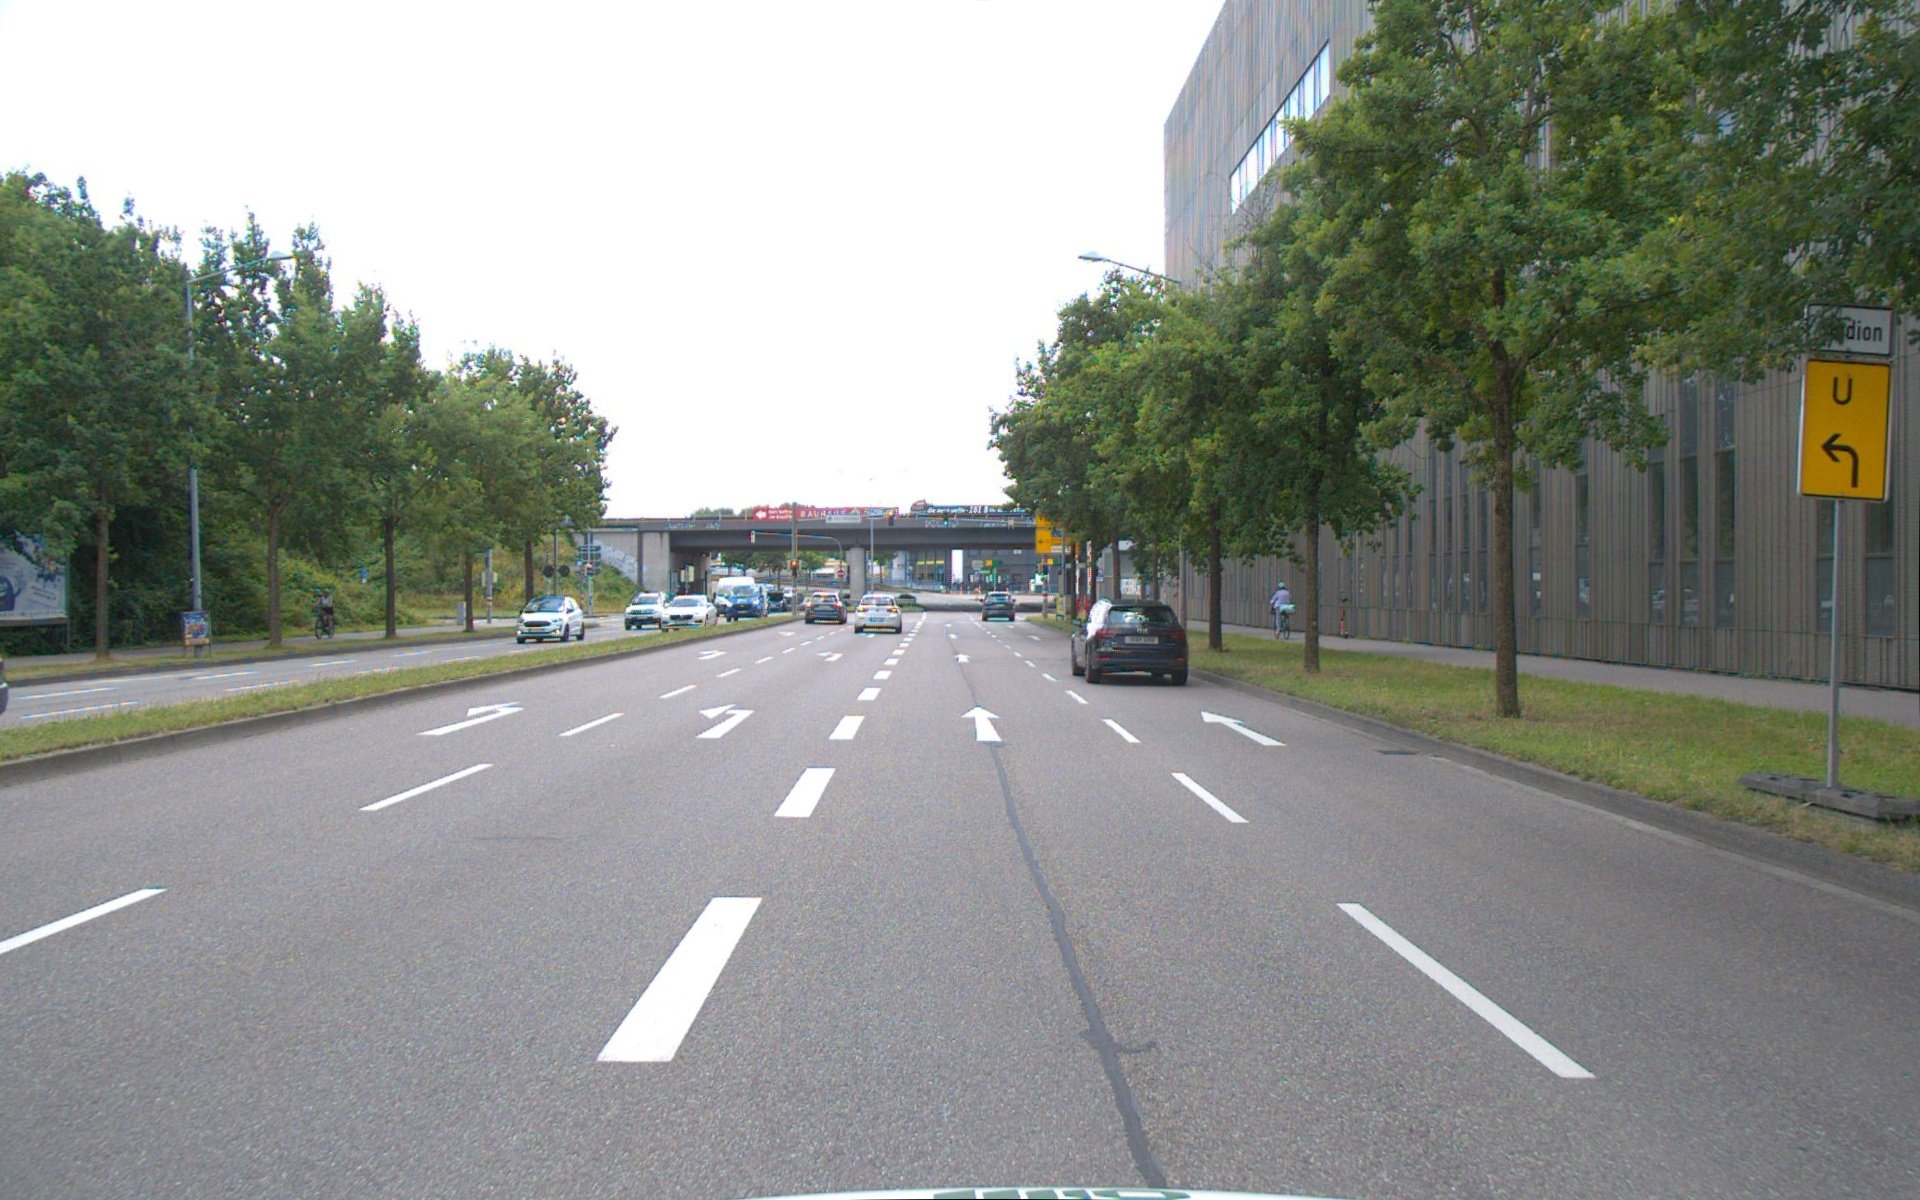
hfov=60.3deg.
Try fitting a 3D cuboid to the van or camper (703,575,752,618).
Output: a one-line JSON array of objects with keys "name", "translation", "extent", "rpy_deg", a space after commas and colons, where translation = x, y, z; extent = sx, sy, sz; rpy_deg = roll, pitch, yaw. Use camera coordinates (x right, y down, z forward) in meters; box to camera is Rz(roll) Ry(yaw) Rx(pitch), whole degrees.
[{"name": "van or camper", "translation": [-14.642, -0.234, 104.511], "extent": [2.304, 2.584, 7.061], "rpy_deg": [1, 0, -2]}]

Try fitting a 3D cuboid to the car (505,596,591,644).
[{"name": "car", "translation": [-13.990, 0.643, 56.357], "extent": [1.876, 1.468, 4.414], "rpy_deg": [-2, 0, -2]}]

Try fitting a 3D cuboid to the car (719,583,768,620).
[{"name": "car", "translation": [-11.969, 0.057, 91.702], "extent": [2.146, 1.998, 5.191], "rpy_deg": [-1, 0, -2]}]

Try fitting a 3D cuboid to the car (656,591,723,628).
[{"name": "car", "translation": [-11.167, 0.357, 68.515], "extent": [1.953, 1.456, 5.023], "rpy_deg": [-1, 0, 0]}]

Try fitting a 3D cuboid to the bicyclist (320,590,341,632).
[{"name": "bicyclist", "translation": [-22.926, 0.393, 60.237], "extent": [0.484, 1.490, 0.713], "rpy_deg": [1, 0, -2]}]

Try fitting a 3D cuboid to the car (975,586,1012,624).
[{"name": "car", "translation": [1.885, 0.273, 94.311], "extent": [1.953, 2.073, 4.712], "rpy_deg": [-1, 0, 0]}]

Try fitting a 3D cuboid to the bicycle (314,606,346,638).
[{"name": "bicycle", "translation": [-22.920, 0.797, 60.178], "extent": [0.499, 1.126, 1.844], "rpy_deg": [1, 0, -3]}]

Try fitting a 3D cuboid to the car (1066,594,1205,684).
[{"name": "car", "translation": [3.081, 0.647, 29.982], "extent": [1.953, 1.414, 4.575], "rpy_deg": [1, 1, -1]}]

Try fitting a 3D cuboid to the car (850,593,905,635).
[{"name": "car", "translation": [-3.094, 0.517, 62.822], "extent": [1.876, 1.439, 4.295], "rpy_deg": [3, 0, -1]}]

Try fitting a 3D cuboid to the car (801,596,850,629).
[{"name": "car", "translation": [-6.282, 0.558, 77.562], "extent": [1.953, 1.440, 4.831], "rpy_deg": [1, 0, -1]}]

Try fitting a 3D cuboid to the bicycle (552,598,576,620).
[{"name": "bicycle", "translation": [-23.453, 0.528, 97.899], "extent": [0.805, 1.292, 2.393], "rpy_deg": [1, 0, 0]}]

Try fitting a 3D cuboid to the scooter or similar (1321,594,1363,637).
[{"name": "scooter or similar", "translation": [11.729, 0.455, 50.853], "extent": [0.690, 1.268, 2.479], "rpy_deg": [-1, 0, 0]}]

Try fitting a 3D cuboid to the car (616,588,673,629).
[{"name": "car", "translation": [-14.624, 0.369, 76.885], "extent": [1.953, 1.833, 4.408], "rpy_deg": [-1, 0, -2]}]

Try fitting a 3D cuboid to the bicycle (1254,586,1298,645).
[{"name": "bicycle", "translation": [9.921, 0.459, 51.981], "extent": [0.705, 1.805, 2.531], "rpy_deg": [-1, 0, -4]}]

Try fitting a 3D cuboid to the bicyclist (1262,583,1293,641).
[{"name": "bicyclist", "translation": [9.933, 0.362, 51.833], "extent": [0.701, 1.800, 0.988], "rpy_deg": [-1, 0, -4]}]

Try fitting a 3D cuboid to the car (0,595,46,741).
[{"name": "car", "translation": [-11.093, 0.742, 15.922], "extent": [1.919, 1.543, 4.908], "rpy_deg": [-1, 0, -1]}]
